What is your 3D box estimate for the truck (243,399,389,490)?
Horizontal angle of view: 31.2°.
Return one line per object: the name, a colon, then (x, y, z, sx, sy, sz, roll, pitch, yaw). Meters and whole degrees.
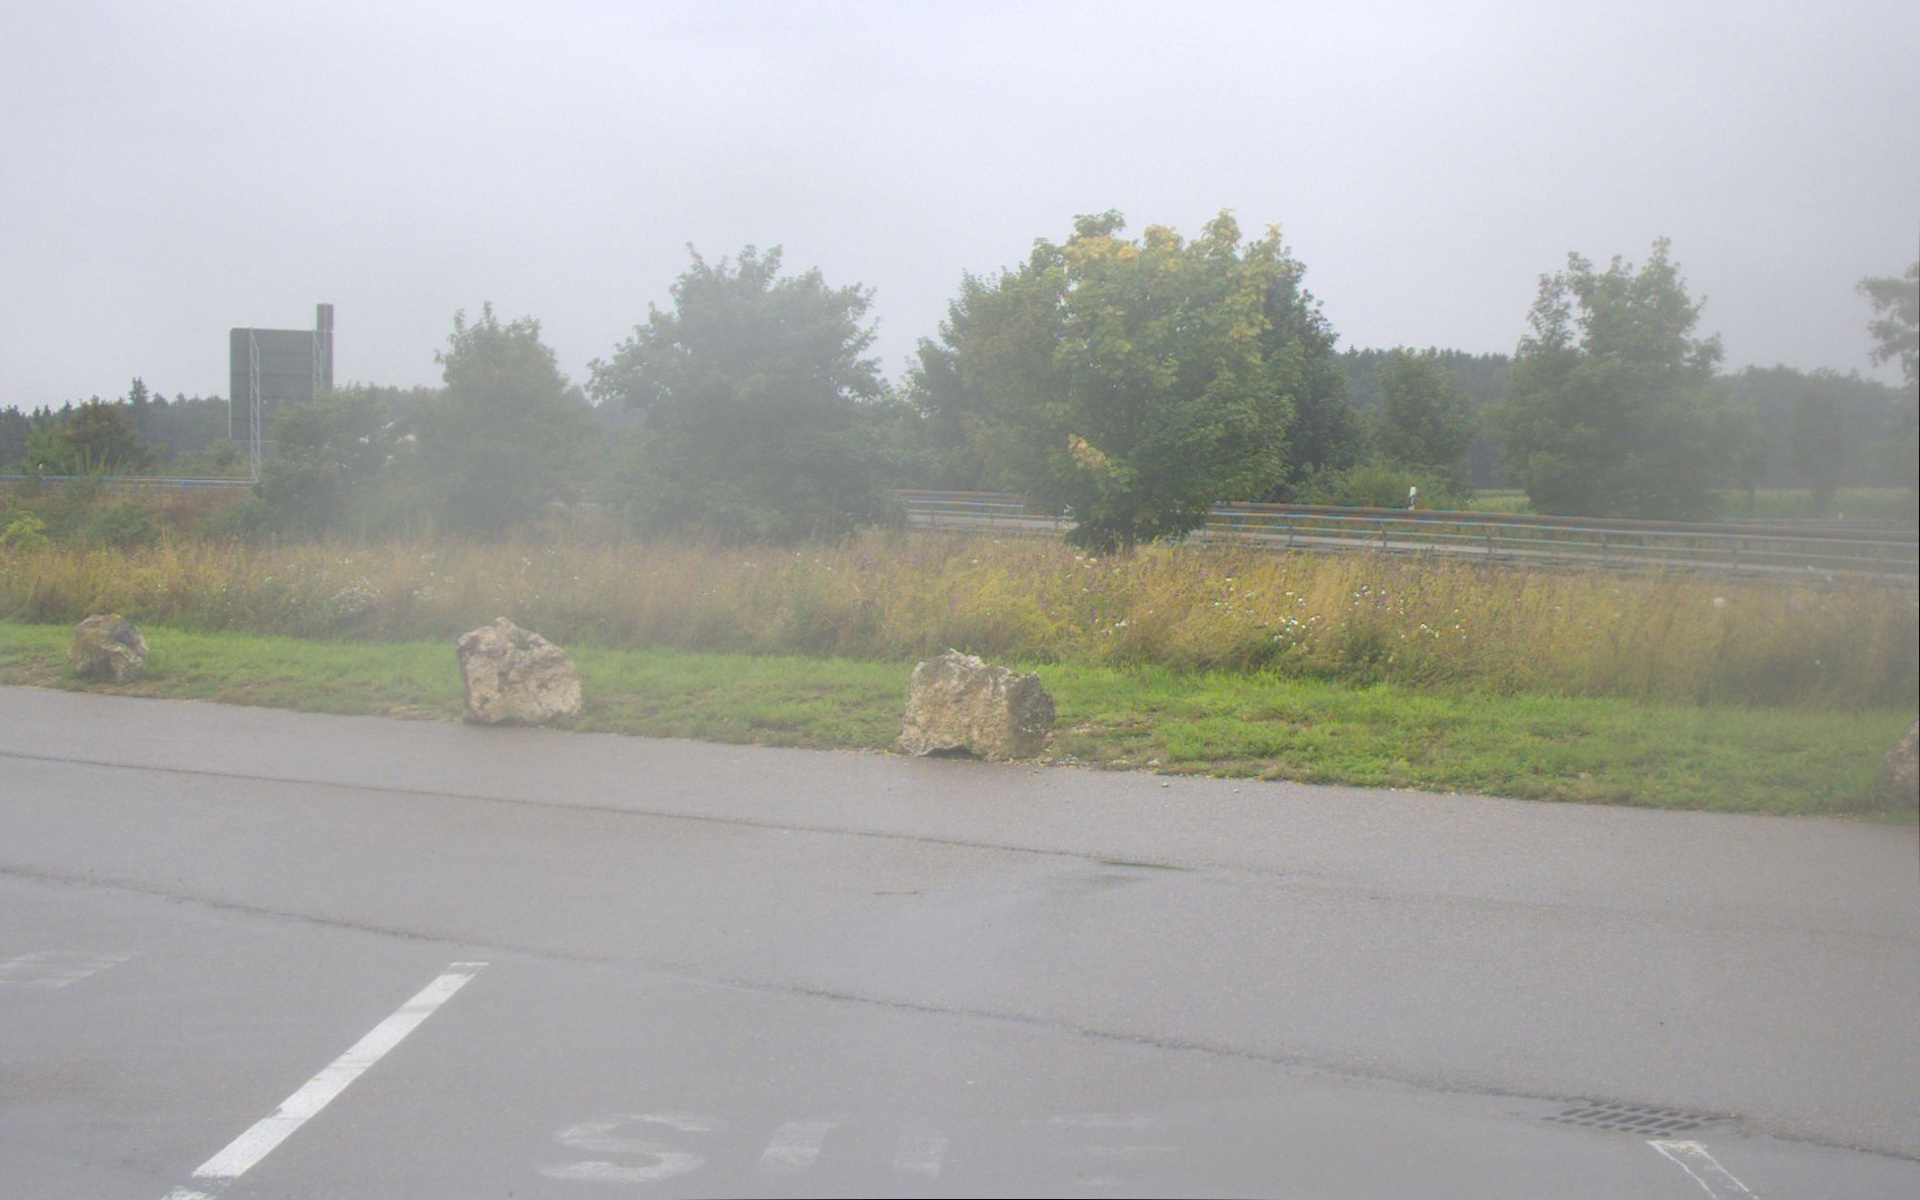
truck: (-25.123, -5.995, 133.812, 2.739, 3.379, 8.067, 0, 2, -33)
